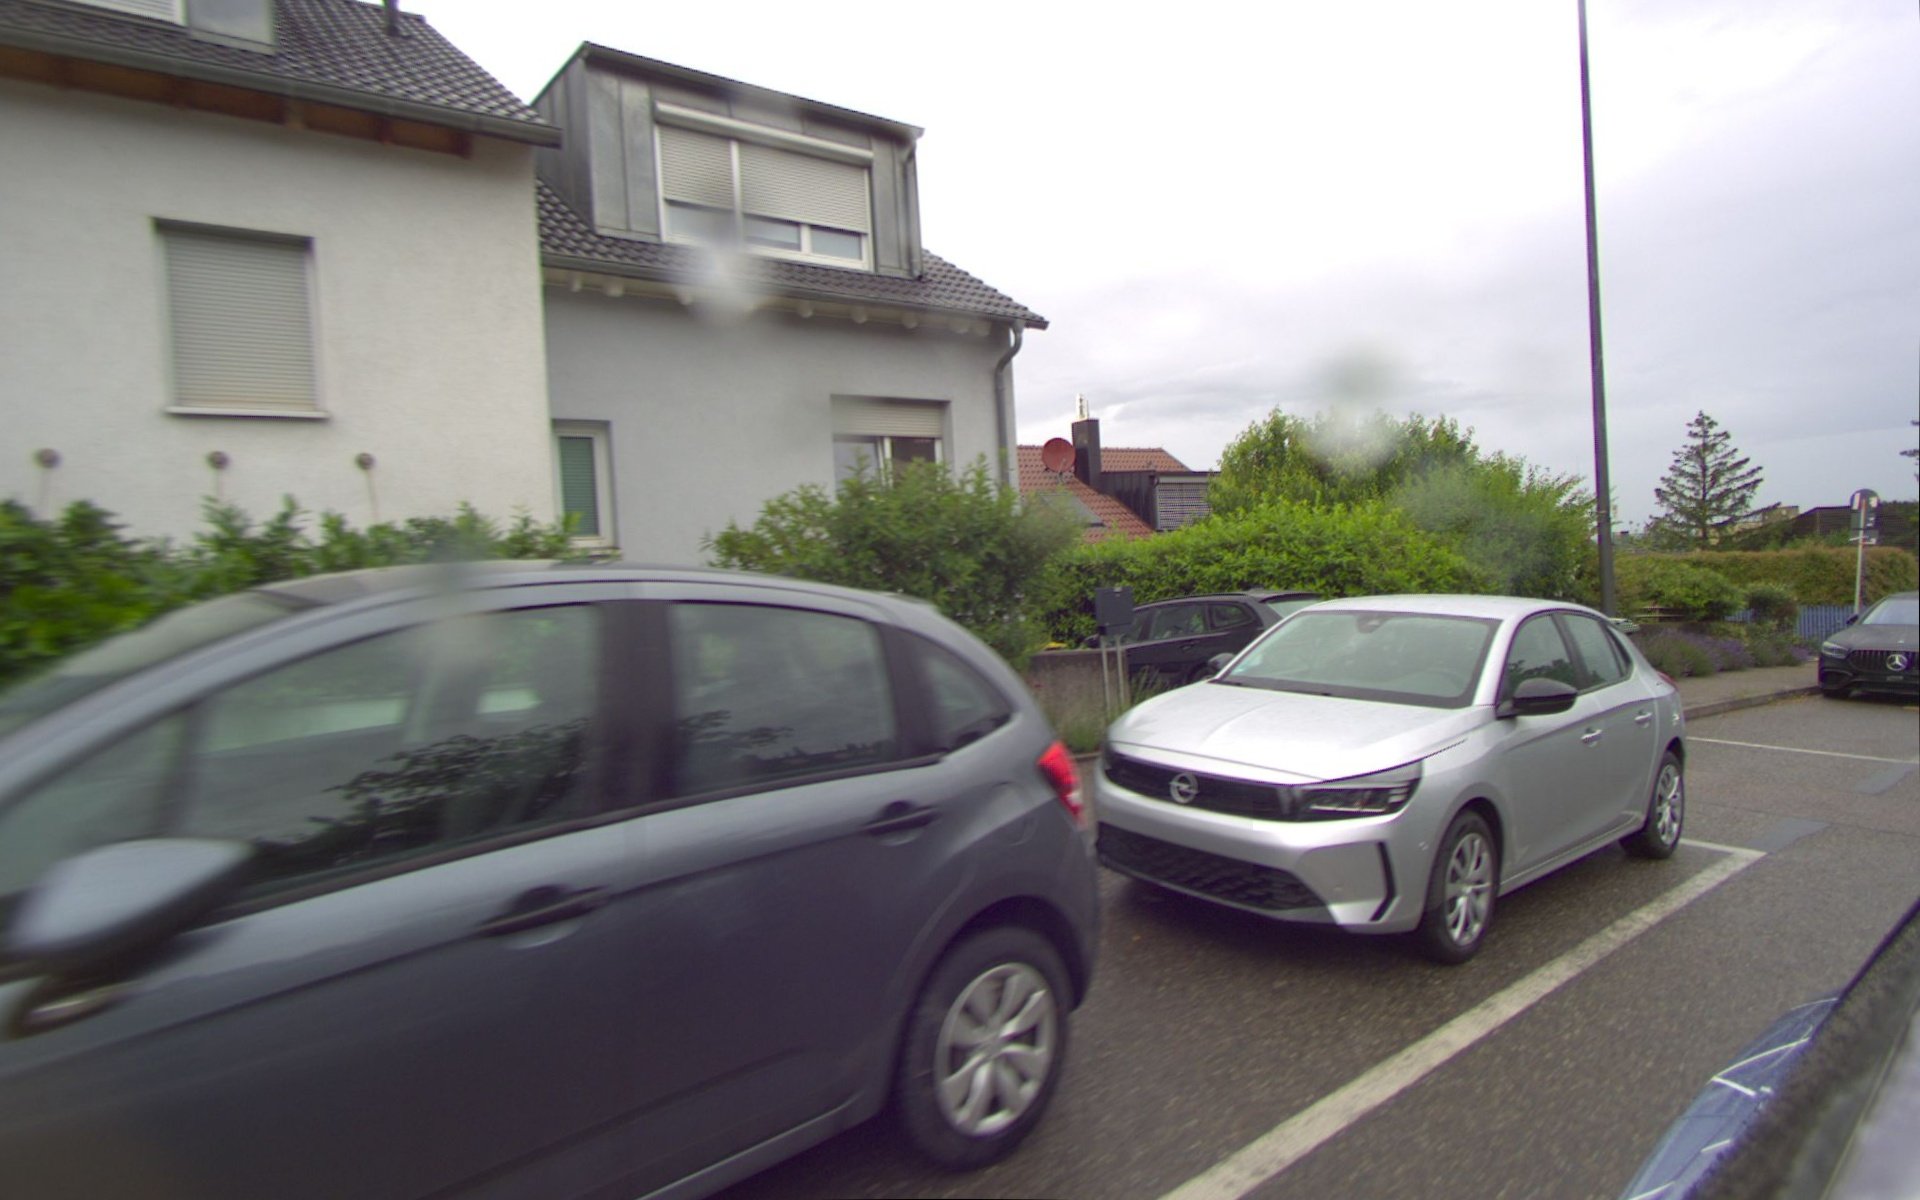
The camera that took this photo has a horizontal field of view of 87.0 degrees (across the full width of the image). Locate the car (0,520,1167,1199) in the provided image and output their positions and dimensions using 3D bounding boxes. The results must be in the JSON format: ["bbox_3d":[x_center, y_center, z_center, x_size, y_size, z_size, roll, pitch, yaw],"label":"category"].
[{"bbox_3d":[-1.326,0.605,2.338,3.699,1.485,1.662,-1,2,-42],"label":"car"}]

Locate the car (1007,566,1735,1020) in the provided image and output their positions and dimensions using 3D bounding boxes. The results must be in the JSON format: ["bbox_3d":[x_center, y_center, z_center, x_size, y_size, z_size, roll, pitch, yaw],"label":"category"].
[{"bbox_3d":[2.394,0.604,5.352,4.158,1.485,1.773,0,2,-39],"label":"car"}]

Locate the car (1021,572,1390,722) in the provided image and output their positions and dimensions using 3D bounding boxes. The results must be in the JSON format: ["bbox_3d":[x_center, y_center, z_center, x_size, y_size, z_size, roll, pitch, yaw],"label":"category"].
[{"bbox_3d":[2.741,0.643,12.224,1.961,1.461,3.999,-1,-5,-33],"label":"car"}]

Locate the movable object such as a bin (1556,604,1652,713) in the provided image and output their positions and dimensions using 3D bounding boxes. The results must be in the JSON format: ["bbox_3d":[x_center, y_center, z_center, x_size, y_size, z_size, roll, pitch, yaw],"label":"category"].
[{"bbox_3d":[6.788,0.590,10.676,0.633,1.081,0.678,0,0,-37],"label":"movable object such as a bin"}]

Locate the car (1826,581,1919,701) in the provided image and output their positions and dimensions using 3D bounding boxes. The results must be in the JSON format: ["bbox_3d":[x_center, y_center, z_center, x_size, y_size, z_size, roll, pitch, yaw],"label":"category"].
[{"bbox_3d":[14.494,0.535,14.583,4.967,1.546,1.864,0,2,-35],"label":"car"}]

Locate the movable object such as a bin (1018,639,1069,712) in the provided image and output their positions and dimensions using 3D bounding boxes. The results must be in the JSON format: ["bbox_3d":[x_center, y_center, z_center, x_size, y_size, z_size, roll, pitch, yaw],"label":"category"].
[{"bbox_3d":[1.318,1.179,16.014,0.555,1.081,0.577,0,0,-37],"label":"movable object such as a bin"}]
